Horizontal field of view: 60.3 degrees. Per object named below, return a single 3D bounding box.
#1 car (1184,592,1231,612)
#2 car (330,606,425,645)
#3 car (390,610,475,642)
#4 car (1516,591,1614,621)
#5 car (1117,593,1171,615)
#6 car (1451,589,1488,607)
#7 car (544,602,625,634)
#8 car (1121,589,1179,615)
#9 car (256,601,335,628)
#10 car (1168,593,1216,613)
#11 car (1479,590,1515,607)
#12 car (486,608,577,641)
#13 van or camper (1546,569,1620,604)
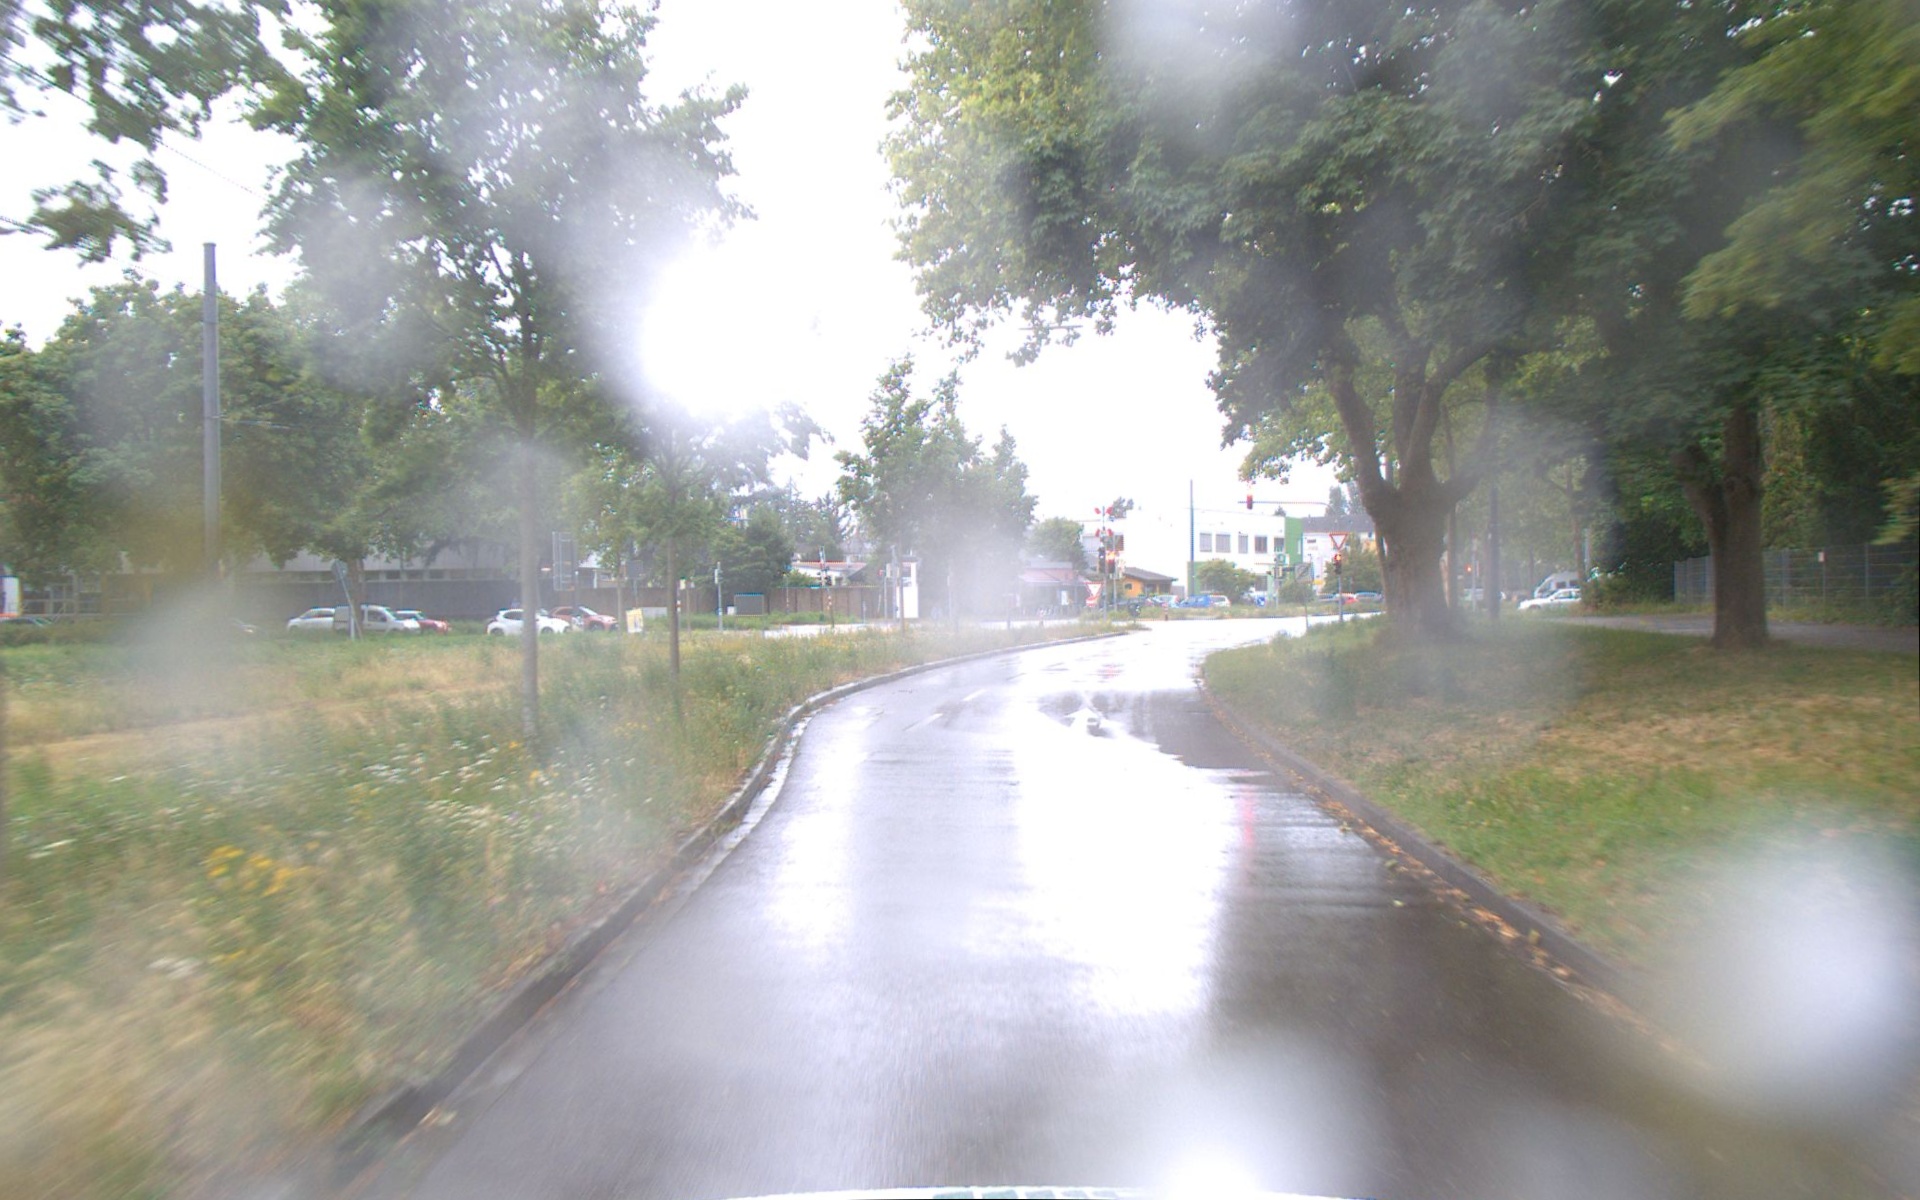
[{"bbox_3d":[19.949,0.179,133.363,3.670,1.467,1.764,-2,0,9],"label":"car"},{"bbox_3d":[-28.960,1.250,82.280,4.122,1.828,1.652,-1,1,1],"label":"car"},{"bbox_3d":[-27.259,1.321,85.515,3.827,1.525,1.652,-1,1,0],"label":"car"},{"bbox_3d":[30.139,0.323,82.504,4.416,1.414,1.646,-1,-1,13],"label":"car"},{"bbox_3d":[13.694,0.300,122.956,3.671,1.467,1.763,-2,0,18],"label":"car"},{"bbox_3d":[60.331,-0.185,195.837,4.050,2.010,1.673,-2,-1,22],"label":"car"},{"bbox_3d":[-19.344,0.930,85.219,3.738,1.525,1.653,-2,-1,3],"label":"car"},{"bbox_3d":[14.540,0.164,126.324,4.050,1.892,1.673,-2,-1,22],"label":"car"},{"bbox_3d":[-38.308,0.817,95.387,3.905,1.445,1.538,-2,0,0],"label":"car"},{"bbox_3d":[18.285,0.210,130.414,3.670,1.467,1.764,-2,0,9],"label":"car"},{"bbox_3d":[66.219,-0.165,204.006,4.050,1.892,1.673,-2,-1,22],"label":"car"},{"bbox_3d":[-21.101,1.200,81.560,3.980,1.525,1.653,-2,-1,3],"label":"car"},{"bbox_3d":[49.555,-1.097,131.631,5.129,2.744,2.236,1,1,34],"label":"van or camper"}]
